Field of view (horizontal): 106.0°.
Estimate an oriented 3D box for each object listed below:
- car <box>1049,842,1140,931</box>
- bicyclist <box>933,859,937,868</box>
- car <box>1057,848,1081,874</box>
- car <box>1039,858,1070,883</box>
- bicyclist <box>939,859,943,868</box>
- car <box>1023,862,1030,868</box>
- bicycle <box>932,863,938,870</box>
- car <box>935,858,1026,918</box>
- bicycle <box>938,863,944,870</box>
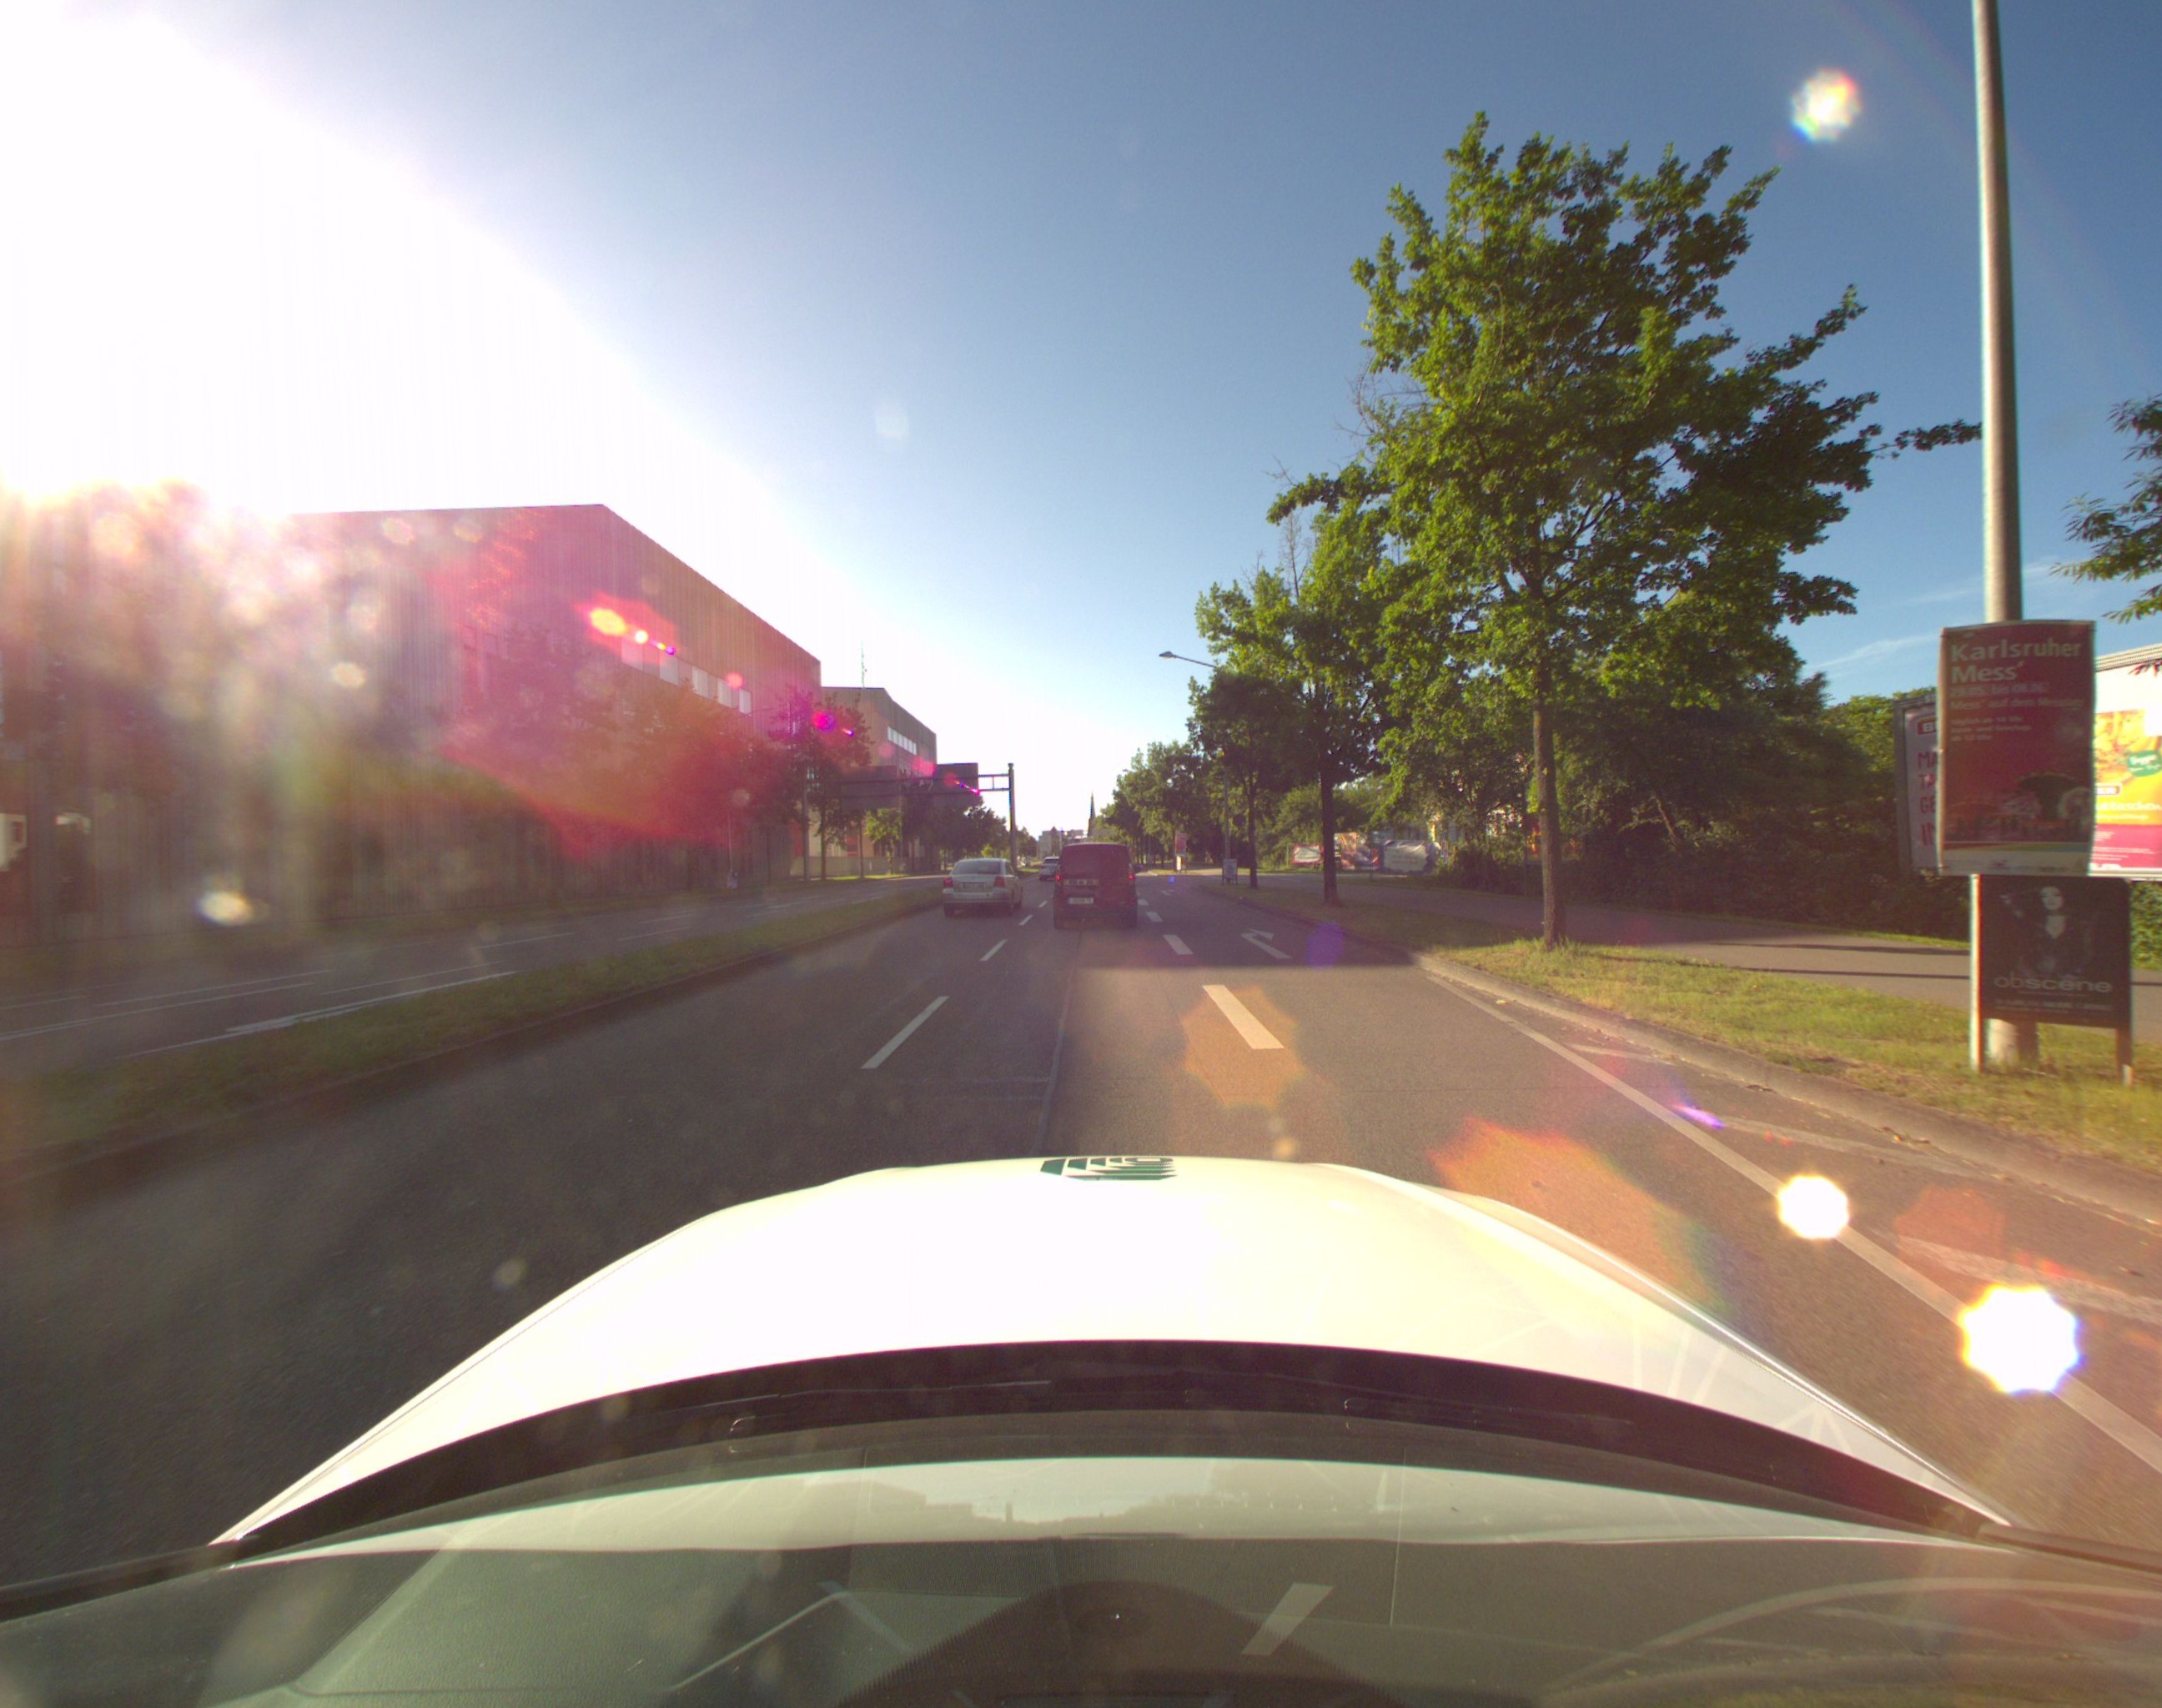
[{"bbox_3d":[0.291,0.653,18.318,1.800,1.759,4.006,-1,0,1],"label":"car"},{"bbox_3d":[-23.121,1.572,128.855,0.481,1.395,0.844,-2,-1,0],"label":"bicyclist"},{"bbox_3d":[-0.881,0.520,62.252,1.656,1.856,3.559,-2,0,1],"label":"car"},{"bbox_3d":[-1.525,0.950,48.631,1.656,1.398,3.559,-2,0,1],"label":"car"},{"bbox_3d":[-21.992,1.486,128.080,0.560,1.392,0.747,-2,-1,0],"label":"bicyclist"},{"bbox_3d":[-13.660,2.745,203.409,1.441,1.436,3.458,-2,0,-1],"label":"car"},{"bbox_3d":[-23.106,1.962,128.831,0.485,1.003,2.096,-2,-1,0],"label":"bicycle"},{"bbox_3d":[-2.592,0.833,21.925,1.834,1.456,4.163,-1,0,1],"label":"car"},{"bbox_3d":[-21.972,1.939,128.155,0.568,1.003,2.096,-2,-1,0],"label":"bicycle"}]
